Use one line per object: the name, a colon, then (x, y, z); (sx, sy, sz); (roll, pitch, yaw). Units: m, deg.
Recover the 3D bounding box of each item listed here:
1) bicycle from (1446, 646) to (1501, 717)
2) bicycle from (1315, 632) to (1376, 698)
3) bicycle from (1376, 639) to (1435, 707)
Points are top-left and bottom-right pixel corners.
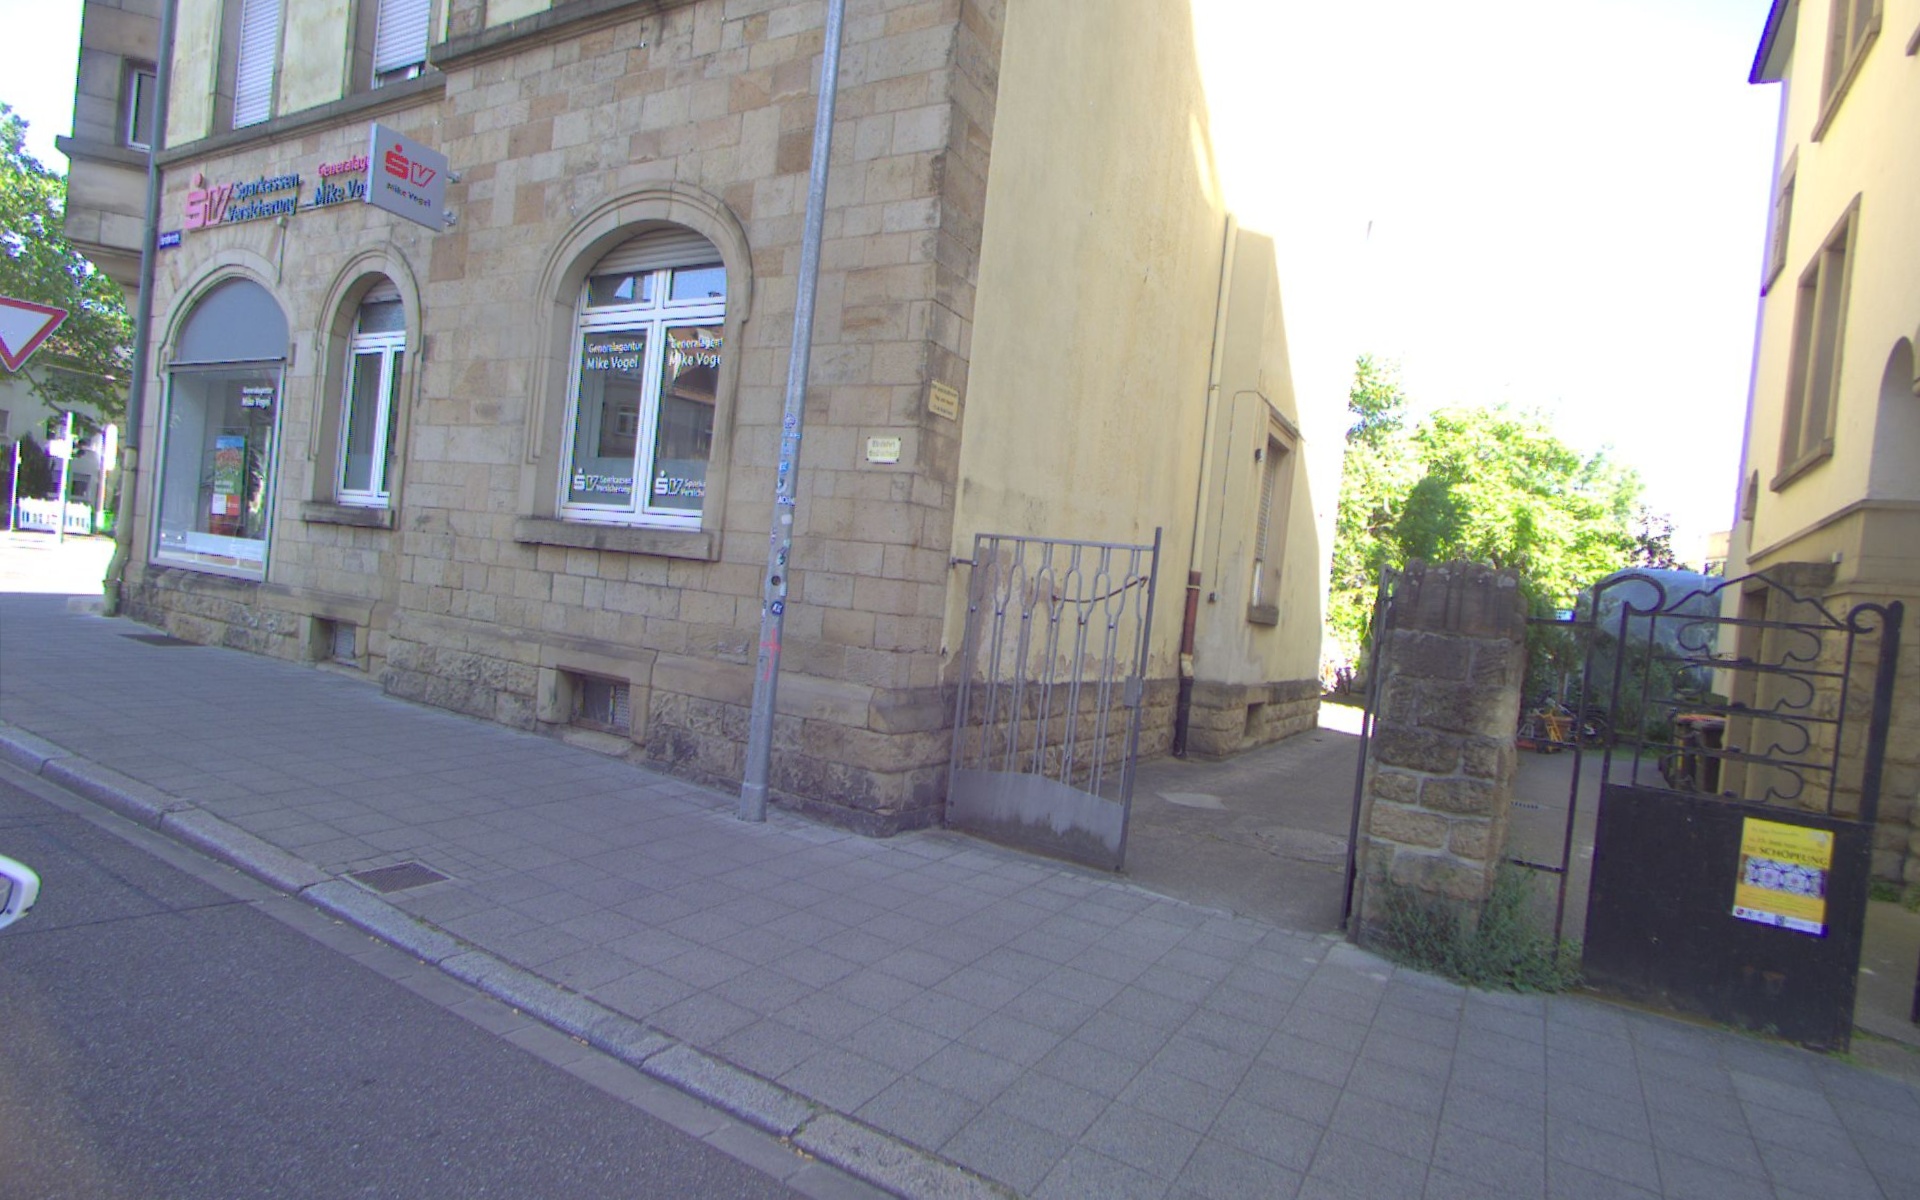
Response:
bicycle: (12.600, 1.940, 24.637); (0.904, 1.532, 2.667); (6, 2, 31)
bicycle: (9.981, 1.646, 25.967); (0.904, 1.532, 2.667); (6, 2, 31)
bicycle: (11.215, 1.781, 25.251); (0.904, 1.532, 2.667); (6, 2, 31)
